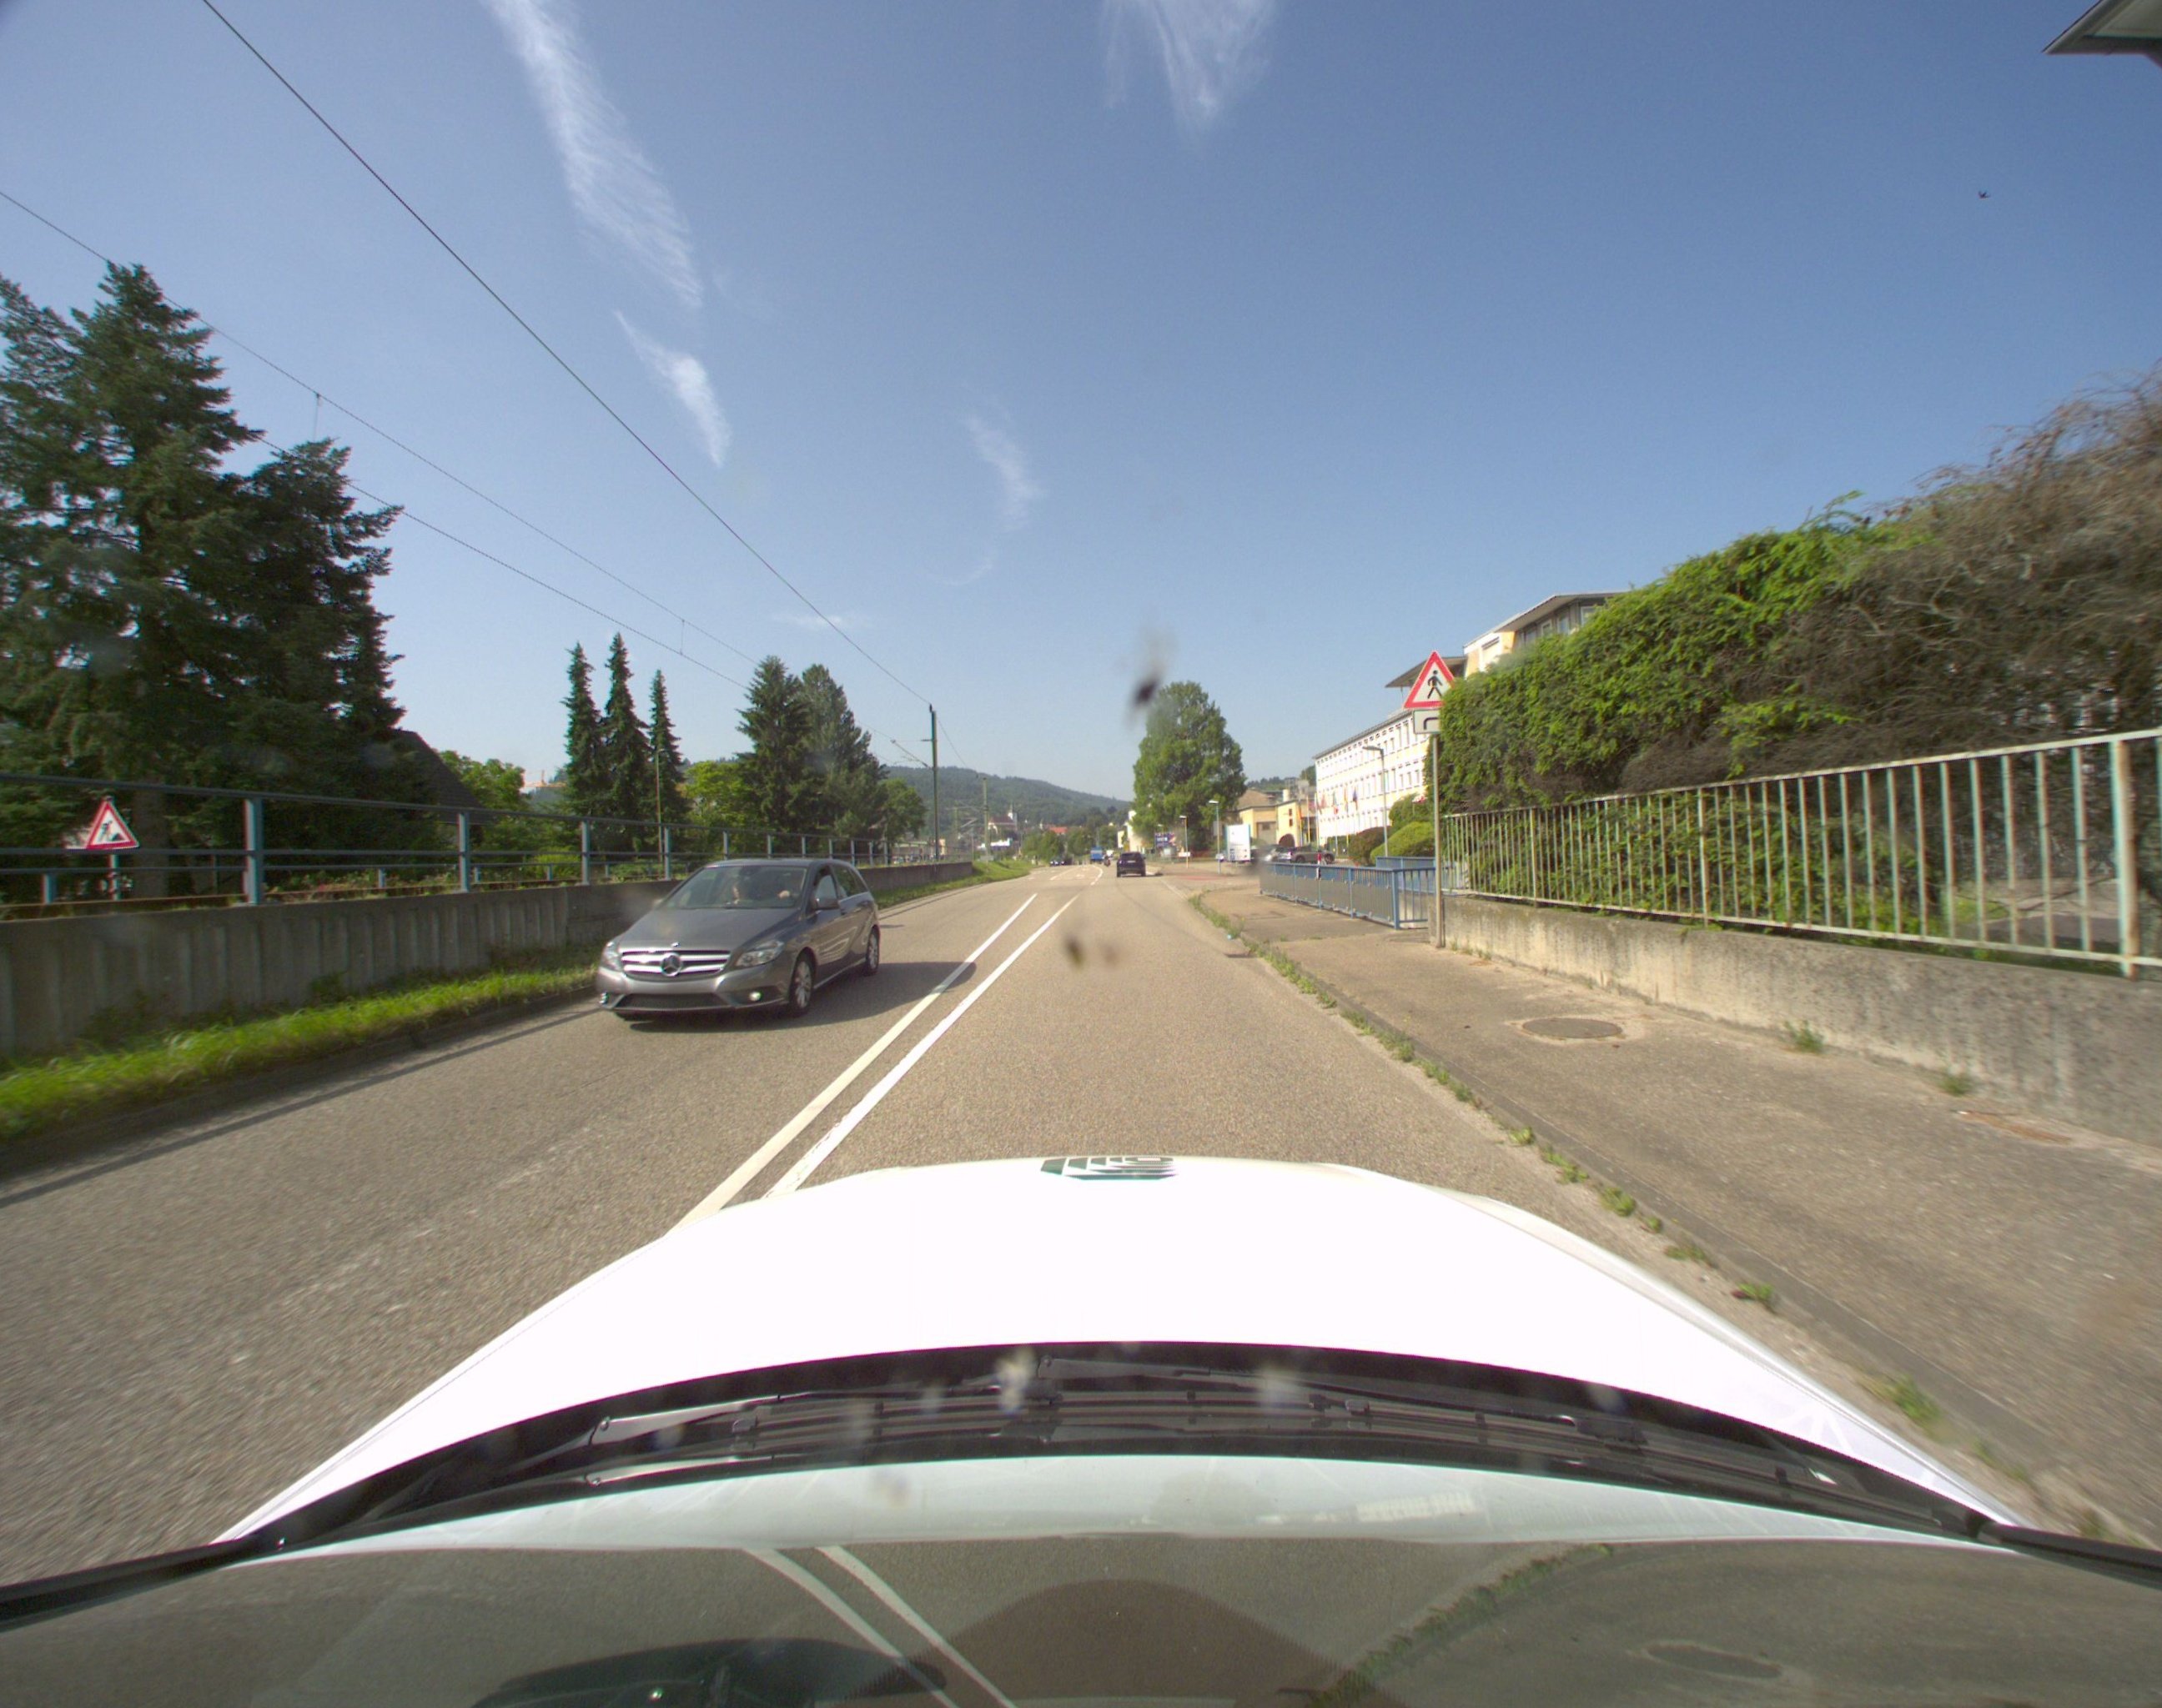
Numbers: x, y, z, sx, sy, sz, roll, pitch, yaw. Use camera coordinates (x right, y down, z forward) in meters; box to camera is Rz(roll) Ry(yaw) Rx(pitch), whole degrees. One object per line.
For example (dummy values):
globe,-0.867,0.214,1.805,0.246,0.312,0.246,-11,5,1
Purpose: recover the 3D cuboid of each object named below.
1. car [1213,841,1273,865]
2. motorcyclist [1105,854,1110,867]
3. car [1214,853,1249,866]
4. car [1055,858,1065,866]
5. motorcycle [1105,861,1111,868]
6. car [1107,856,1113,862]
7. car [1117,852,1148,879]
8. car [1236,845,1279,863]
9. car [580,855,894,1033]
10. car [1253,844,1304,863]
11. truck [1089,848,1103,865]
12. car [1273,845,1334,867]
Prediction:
car,14.391,-0.102,72.389,5.048,1.832,1.965,-3,0,-27
motorcyclist,3.152,0.825,96.922,0.604,1.520,0.863,-2,0,1
car,18.399,0.704,99.493,4.012,1.401,1.648,-2,0,-30
car,-3.932,1.535,150.921,1.750,1.429,3.998,-2,0,-1
motorcycle,3.205,1.267,96.956,0.604,0.753,1.415,-2,0,1
car,7.915,1.383,221.651,1.759,1.486,4.003,-1,-1,3
car,3.353,0.713,53.129,1.911,1.640,4.004,-2,0,3
car,18.592,0.006,85.805,4.184,1.672,1.853,-2,0,-28
car,-3.508,0.795,9.271,1.736,1.507,4.199,-2,0,0
car,17.180,-0.053,70.806,4.009,1.505,1.869,-3,0,-27
truck,2.740,0.495,147.959,2.306,2.970,5.963,-2,0,-1
car,17.042,0.144,62.267,4.321,1.505,1.869,-3,0,-27
